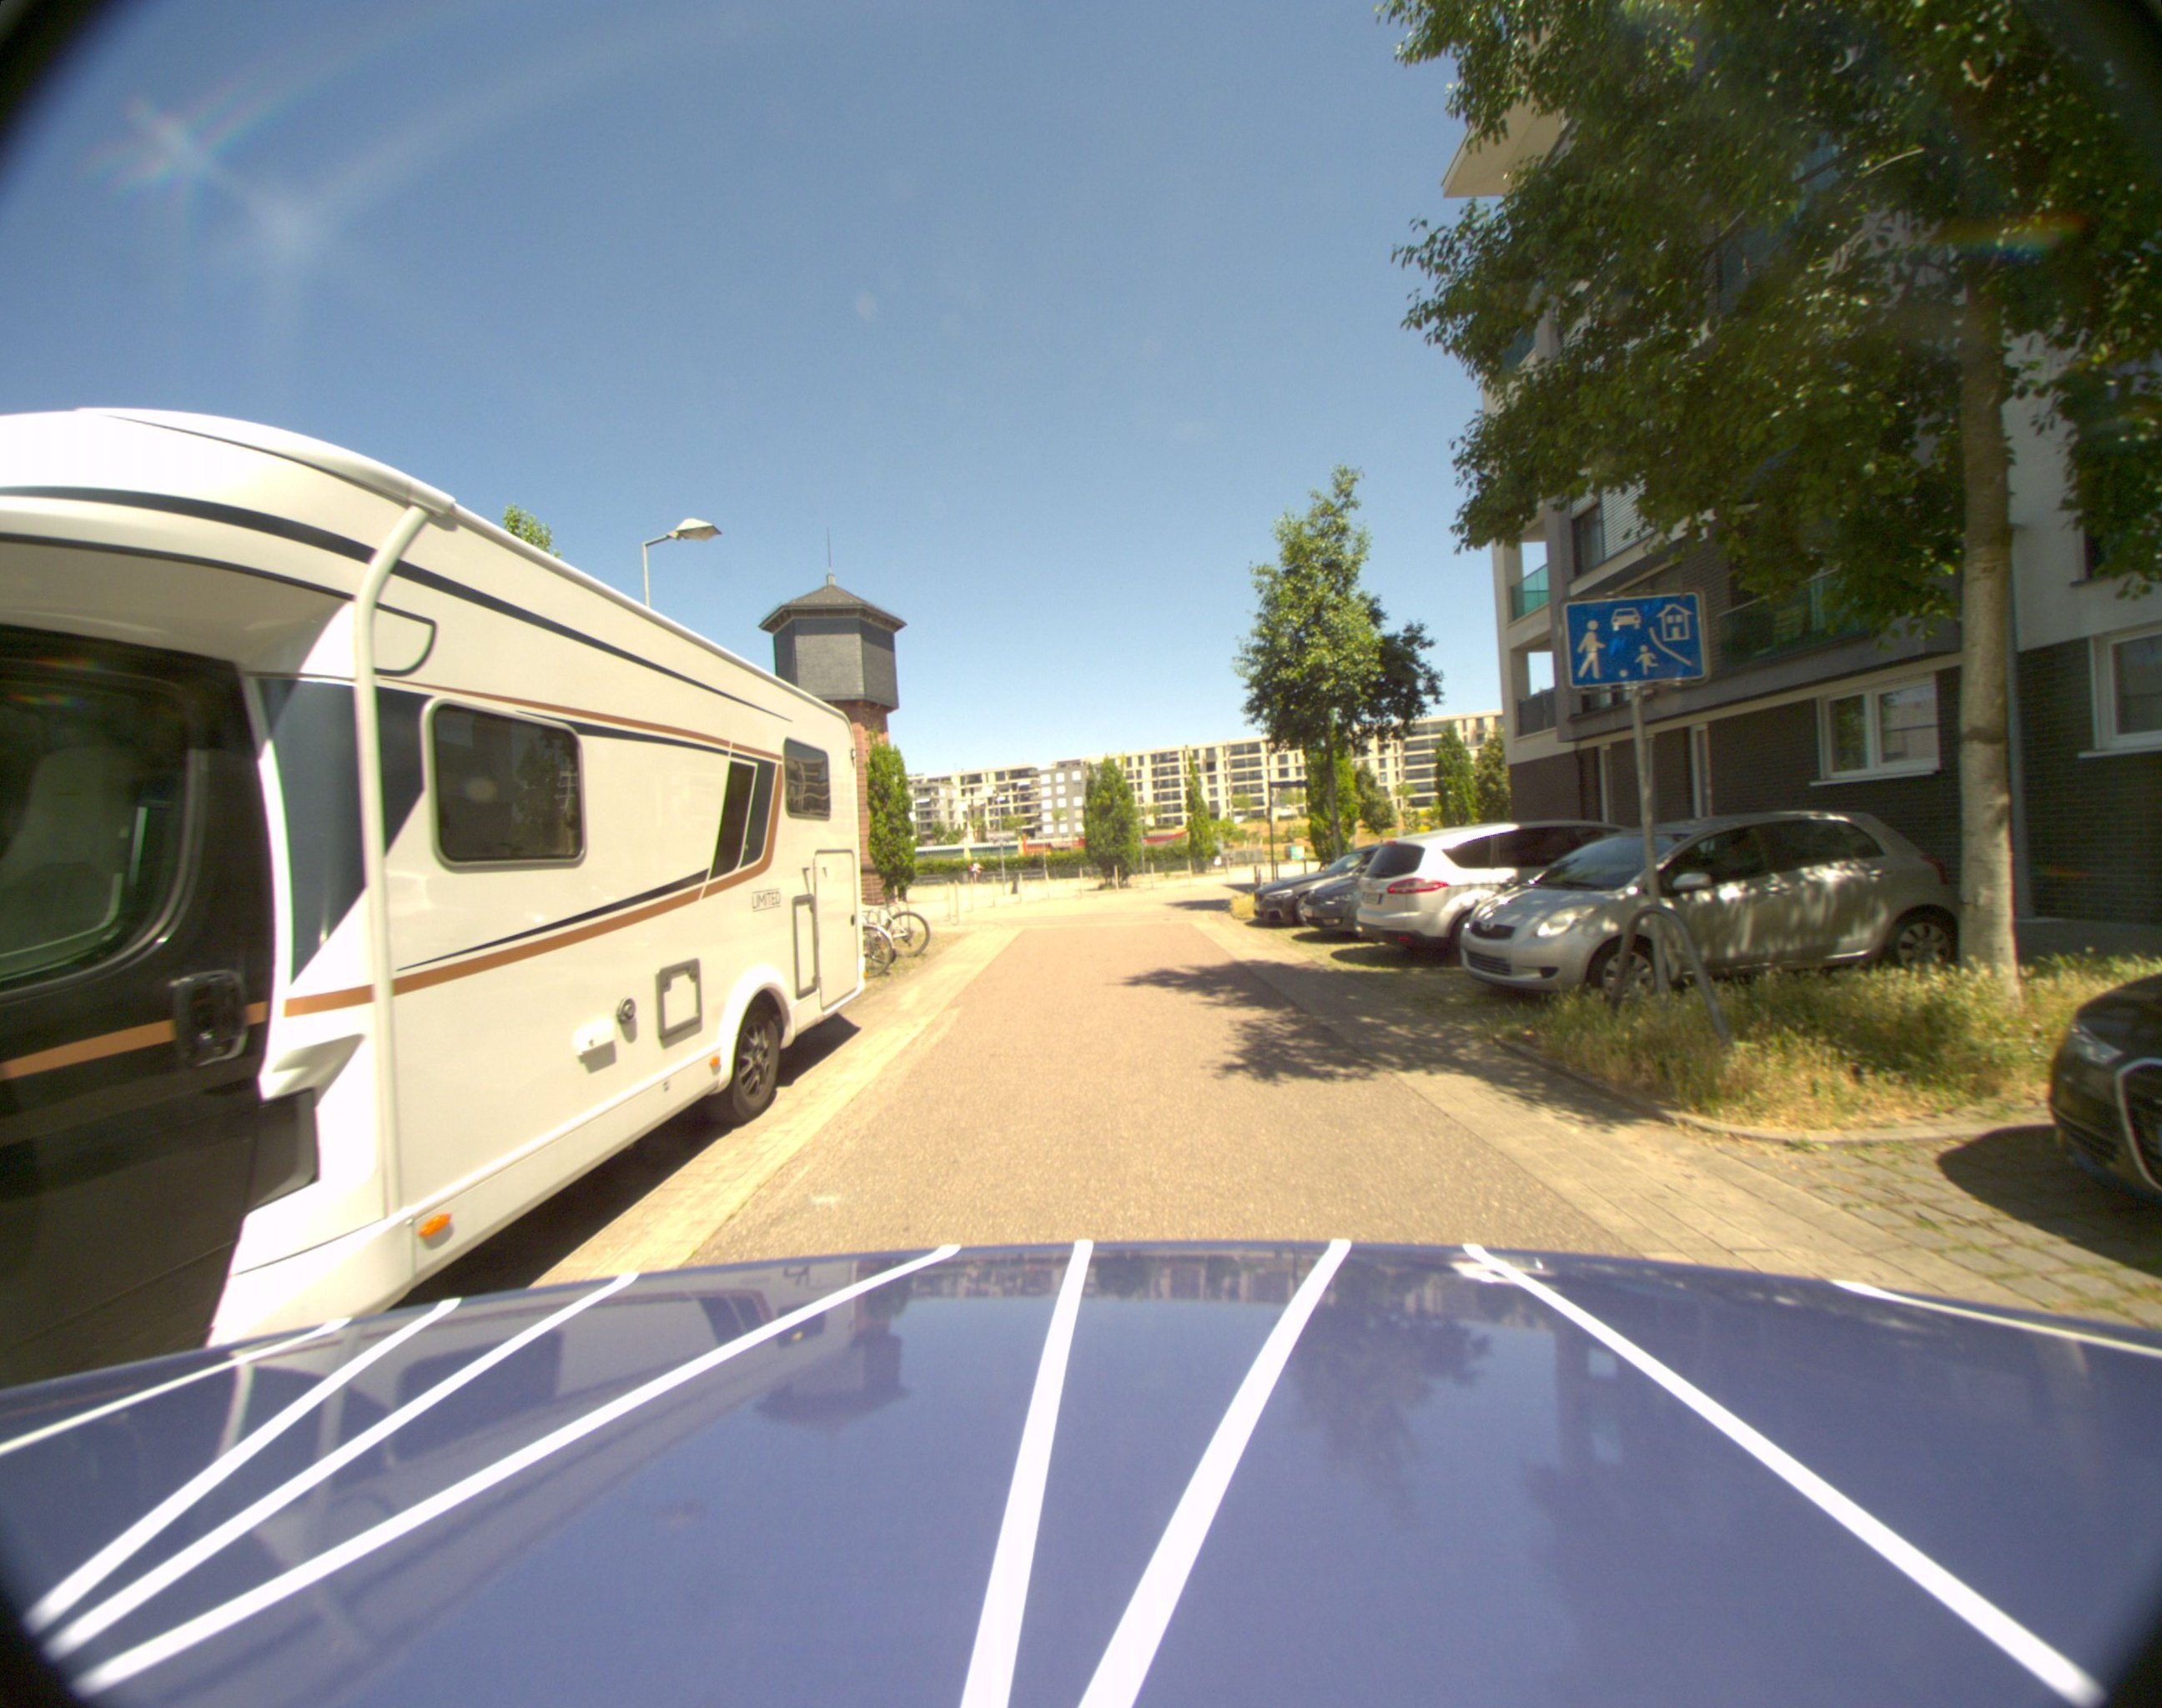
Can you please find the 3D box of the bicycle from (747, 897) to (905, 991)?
[{"bbox_3d":[-3.359,1.181,10.074,1.887,1.104,0.476,-3,1,3],"label":"bicycle"}]

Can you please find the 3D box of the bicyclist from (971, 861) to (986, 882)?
[{"bbox_3d":[-7.465,1.272,55.387,0.659,1.426,0.734,-4,0,31],"label":"bicyclist"}]

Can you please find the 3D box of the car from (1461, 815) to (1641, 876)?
[{"bbox_3d":[14.329,-0.238,23.298,4.395,1.510,1.779,-4,-1,-4],"label":"car"}]

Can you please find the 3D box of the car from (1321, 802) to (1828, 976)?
[{"bbox_3d":[5.942,0.397,9.650,5.041,1.623,2.042,-4,0,-1],"label":"car"}]

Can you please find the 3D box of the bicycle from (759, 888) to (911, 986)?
[{"bbox_3d":[-3.356,1.129,10.451,1.854,1.215,0.556,-3,1,3],"label":"bicycle"}]

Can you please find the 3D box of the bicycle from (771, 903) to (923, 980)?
[{"bbox_3d":[-3.395,1.264,11.088,1.856,0.969,0.946,-2,1,14],"label":"bicycle"}]

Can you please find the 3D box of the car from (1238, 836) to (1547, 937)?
[{"bbox_3d":[5.849,0.571,14.716,5.112,1.476,1.927,-4,1,-1],"label":"car"}]

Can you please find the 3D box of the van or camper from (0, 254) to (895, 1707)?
[{"bbox_3d":[-3.156,0.359,3.381,2.445,2.889,7.825,-4,1,1],"label":"van or camper"}]

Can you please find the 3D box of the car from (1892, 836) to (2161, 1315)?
[{"bbox_3d":[5.797,0.536,2.152,4.862,1.448,1.829,-5,1,2],"label":"car"}]

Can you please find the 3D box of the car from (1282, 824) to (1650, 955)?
[{"bbox_3d":[5.908,0.506,12.070,4.830,1.441,1.827,-6,1,-1],"label":"car"}]

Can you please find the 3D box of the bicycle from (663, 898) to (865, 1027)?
[{"bbox_3d":[-3.427,1.144,8.411,1.923,1.215,0.826,-2,0,-14],"label":"bicycle"}]

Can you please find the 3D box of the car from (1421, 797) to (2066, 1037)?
[{"bbox_3d":[5.690,0.495,6.937,4.262,1.522,1.822,-5,0,-2],"label":"car"}]

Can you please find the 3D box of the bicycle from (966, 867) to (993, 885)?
[{"bbox_3d":[-7.417,1.619,55.371,1.937,1.192,0.592,-4,0,31],"label":"bicycle"}]

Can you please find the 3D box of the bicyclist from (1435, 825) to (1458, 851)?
[{"bbox_3d":[20.833,-0.903,43.314,0.882,1.447,0.860,-4,0,5],"label":"bicyclist"}]

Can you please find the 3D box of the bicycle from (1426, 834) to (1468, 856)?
[{"bbox_3d":[20.867,-0.524,43.322,1.913,1.111,0.799,-4,0,5],"label":"bicycle"}]

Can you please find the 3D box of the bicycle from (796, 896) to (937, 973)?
[{"bbox_3d":[-3.344,1.246,12.045,2.033,0.997,0.874,-3,0,-11],"label":"bicycle"}]
